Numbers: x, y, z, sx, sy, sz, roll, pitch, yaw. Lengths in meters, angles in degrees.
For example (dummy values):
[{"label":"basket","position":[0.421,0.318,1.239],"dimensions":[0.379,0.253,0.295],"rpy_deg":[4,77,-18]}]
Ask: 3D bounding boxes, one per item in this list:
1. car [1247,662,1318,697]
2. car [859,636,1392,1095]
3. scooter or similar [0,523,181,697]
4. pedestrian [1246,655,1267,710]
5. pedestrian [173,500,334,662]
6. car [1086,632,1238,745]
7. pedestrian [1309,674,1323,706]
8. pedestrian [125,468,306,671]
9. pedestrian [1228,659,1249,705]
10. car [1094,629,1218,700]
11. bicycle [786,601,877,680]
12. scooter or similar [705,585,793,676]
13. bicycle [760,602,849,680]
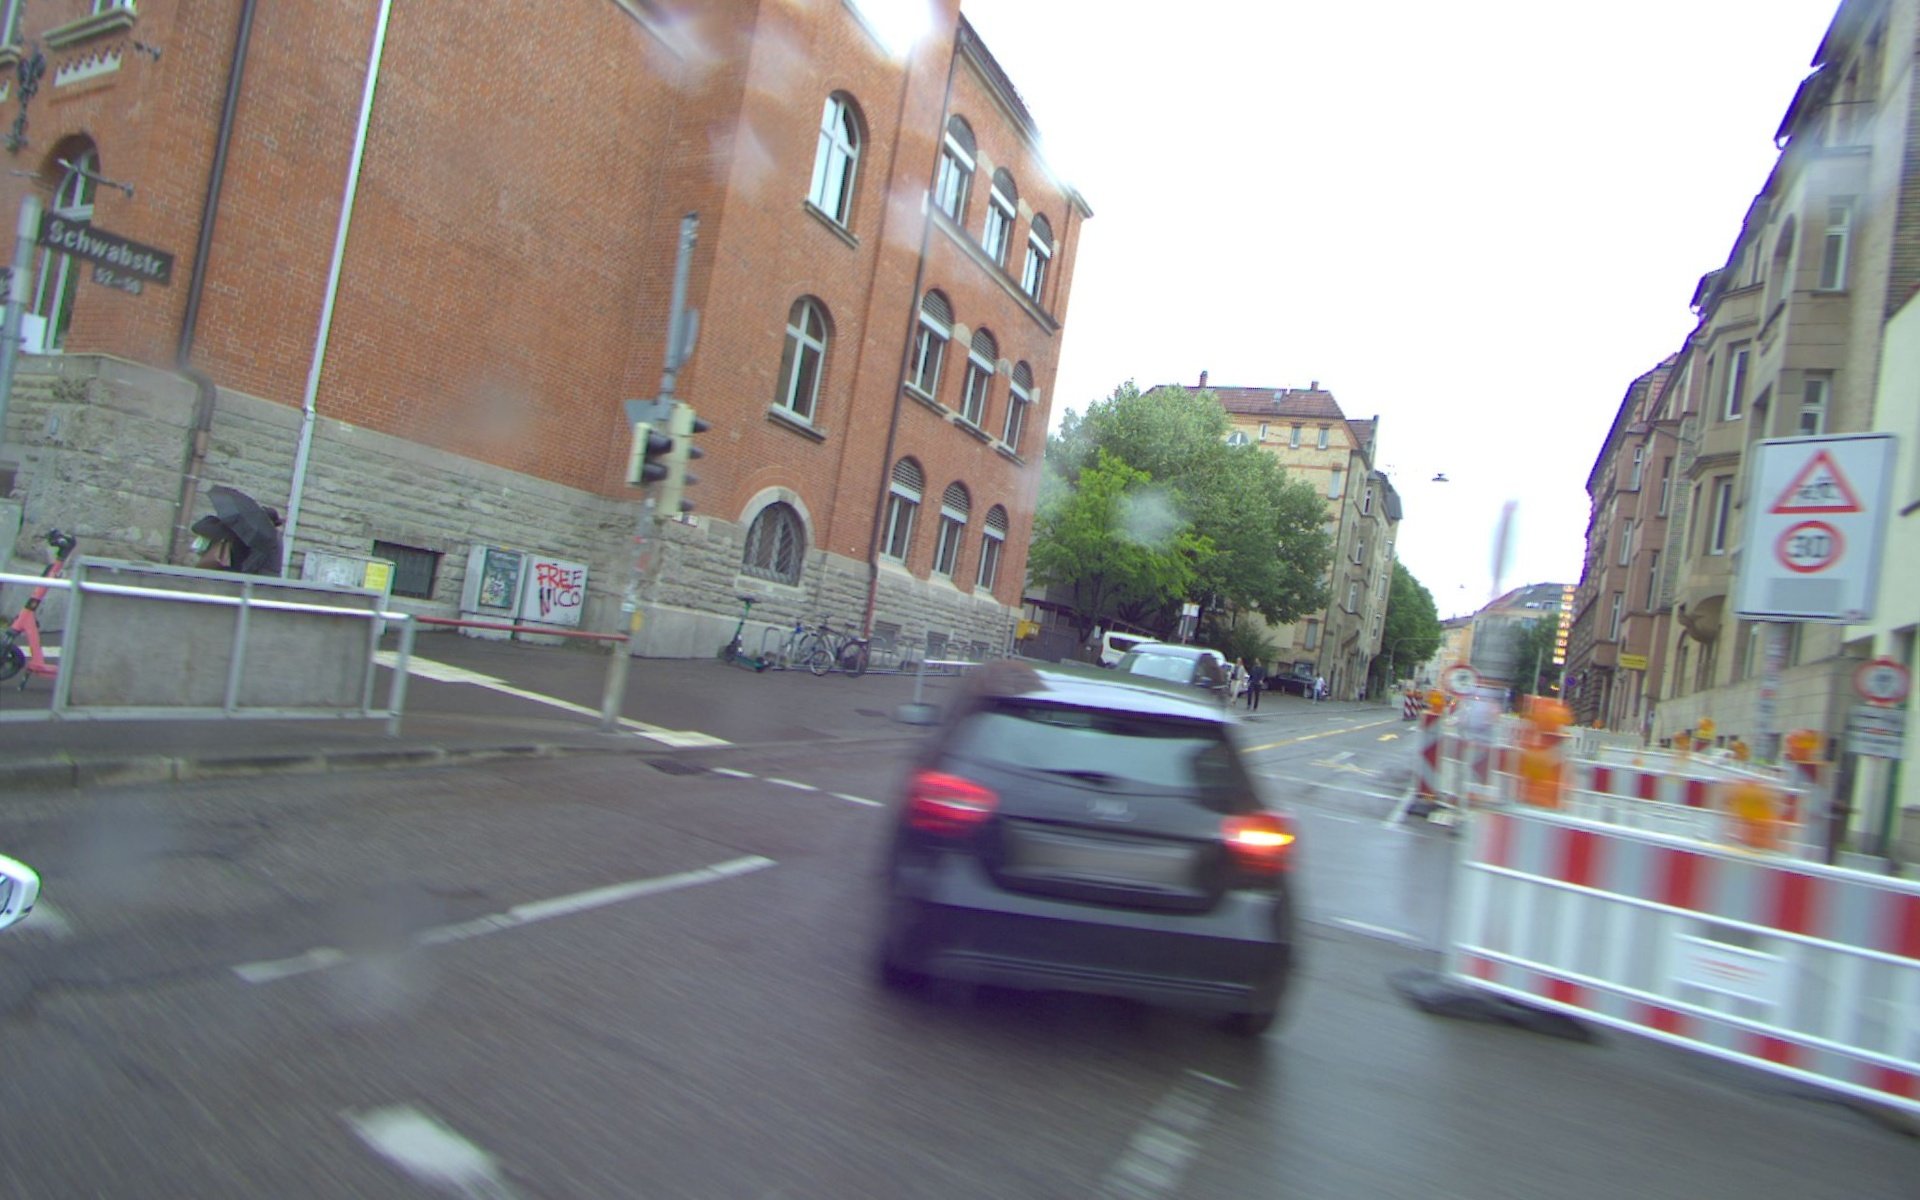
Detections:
[{"label":"car","position":[20.439,5.044,63.788],"dimensions":[3.930,1.636,1.831],"rpy_deg":[6,-2,27]},{"label":"car","position":[0.610,1.031,5.639],"dimensions":[1.767,1.391,4.002],"rpy_deg":[8,-1,0]},{"label":"scooter or similar","position":[-7.227,0.088,8.209],"dimensions":[1.242,1.265,0.631],"rpy_deg":[8,-2,-41]},{"label":"pedestrian","position":[10.880,3.027,36.887],"dimensions":[0.427,1.919,0.537],"rpy_deg":[6,-2,28]},{"label":"pedestrian","position":[-7.956,-0.200,11.351],"dimensions":[1.055,1.644,0.960],"rpy_deg":[6,-1,27]},{"label":"car","position":[3.945,1.637,19.096],"dimensions":[1.704,1.717,3.997],"rpy_deg":[6,-1,26]},{"label":"pedestrian","position":[19.607,4.979,55.402],"dimensions":[0.521,1.689,0.547],"rpy_deg":[6,-1,25]},{"label":"pedestrian","position":[-7.661,-0.298,10.379],"dimensions":[1.055,1.909,0.960],"rpy_deg":[6,-1,27]},{"label":"pedestrian","position":[10.290,3.043,37.198],"dimensions":[0.483,1.637,0.526],"rpy_deg":[6,-3,28]},{"label":"car","position":[7.294,2.401,37.408],"dimensions":[3.944,2.036,2.001],"rpy_deg":[6,-3,26]},{"label":"bicycle","position":[-2.663,0.829,20.769],"dimensions":[1.808,1.260,0.344],"rpy_deg":[13,4,26]},{"label":"scooter or similar","position":[-3.887,0.552,18.509],"dimensions":[1.491,1.435,0.409],"rpy_deg":[8,-1,29]},{"label":"bicycle","position":[-3.082,0.801,19.851],"dimensions":[1.638,1.218,0.414],"rpy_deg":[11,3,26]}]
